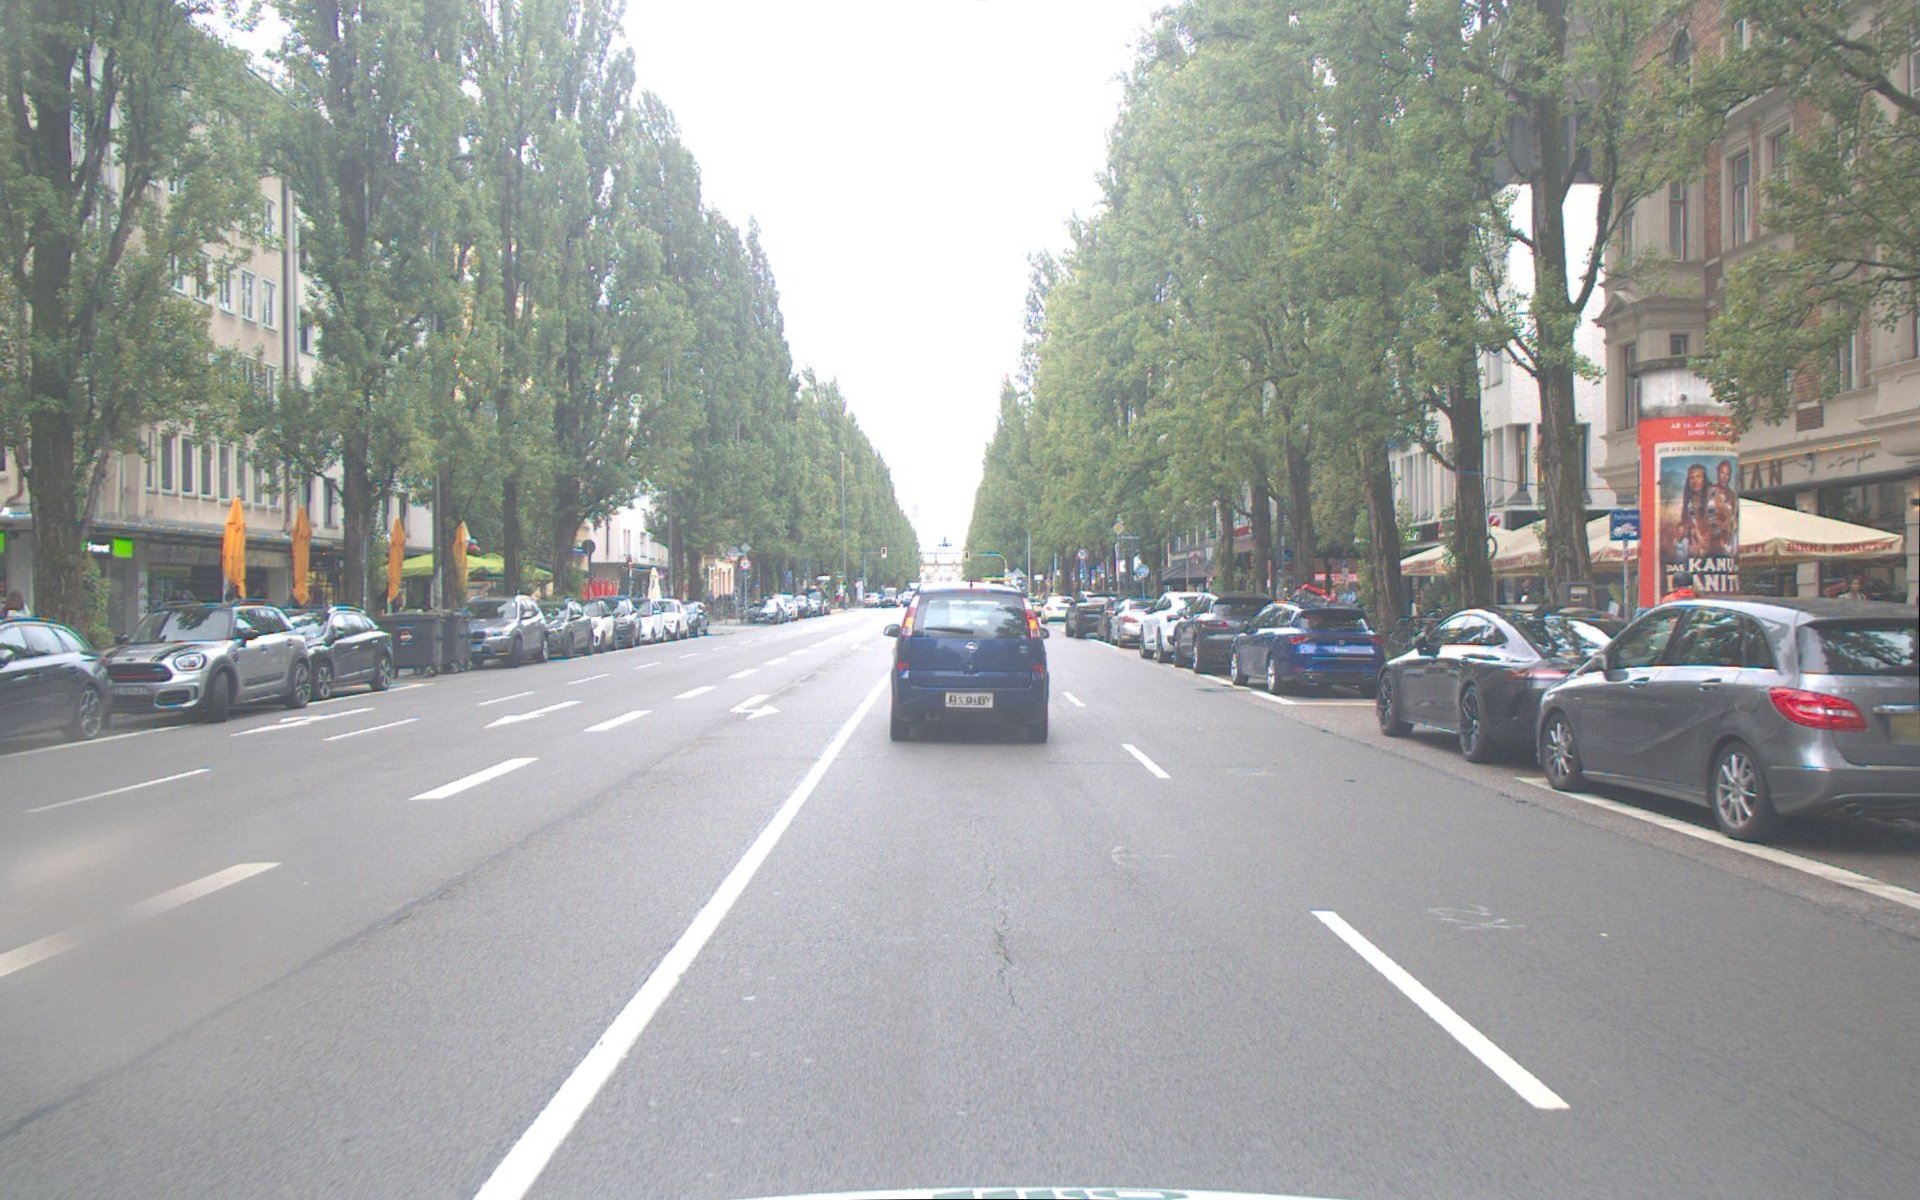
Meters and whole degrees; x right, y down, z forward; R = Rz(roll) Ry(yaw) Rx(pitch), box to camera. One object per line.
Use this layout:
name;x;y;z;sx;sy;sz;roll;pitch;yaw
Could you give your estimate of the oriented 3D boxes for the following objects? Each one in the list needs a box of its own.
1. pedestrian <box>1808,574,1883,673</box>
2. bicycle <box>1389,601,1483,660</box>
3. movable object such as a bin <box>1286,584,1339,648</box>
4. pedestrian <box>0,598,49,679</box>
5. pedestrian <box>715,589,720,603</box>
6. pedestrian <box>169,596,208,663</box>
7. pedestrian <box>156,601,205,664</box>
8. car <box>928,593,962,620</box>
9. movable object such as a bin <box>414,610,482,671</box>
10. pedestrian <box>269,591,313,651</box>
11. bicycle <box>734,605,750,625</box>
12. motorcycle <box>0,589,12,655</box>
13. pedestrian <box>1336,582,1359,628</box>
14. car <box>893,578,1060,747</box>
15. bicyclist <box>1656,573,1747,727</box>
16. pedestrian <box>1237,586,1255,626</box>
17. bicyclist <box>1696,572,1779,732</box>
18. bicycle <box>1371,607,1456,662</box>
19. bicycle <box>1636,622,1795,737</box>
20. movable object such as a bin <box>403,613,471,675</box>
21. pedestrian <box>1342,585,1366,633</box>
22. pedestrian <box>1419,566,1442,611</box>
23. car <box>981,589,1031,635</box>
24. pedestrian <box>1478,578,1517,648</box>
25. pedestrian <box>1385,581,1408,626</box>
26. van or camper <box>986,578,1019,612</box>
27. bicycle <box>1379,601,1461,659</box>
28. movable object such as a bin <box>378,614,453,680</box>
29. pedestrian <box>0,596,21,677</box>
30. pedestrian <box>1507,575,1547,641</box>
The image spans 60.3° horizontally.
pedestrian;15.018;0.397;28.065;0.714;1.637;0.991;-1;0;0
bicycle;10.160;0.645;35.321;1.833;1.213;0.575;-1;0;-5
movable object such as a bin;9.696;0.430;45.570;1.012;1.733;1.585;-1;0;-4
pedestrian;-20.456;0.833;36.163;0.612;1.752;0.826;-1;0;-1
pedestrian;-18.716;-0.296;127.568;0.283;1.109;0.258;-1;0;5
pedestrian;-20.560;0.781;44.098;0.612;1.752;0.827;-1;0;0
pedestrian;-22.332;0.922;47.400;0.834;1.775;1.148;0;0;0
car;-0.891;0.388;96.479;1.953;1.524;3.999;0;0;-1
movable object such as a bin;-11.549;0.900;37.328;1.287;1.340;0.819;0;0;-2
pedestrian;-20.190;0.618;49.950;0.834;1.775;1.148;0;0;0
bicycle;-11.728;0.797;88.923;0.652;1.023;2.460;-1;0;-4
motorcycle;-17.058;0.391;28.785;0.467;1.159;1.808;-1;0;-14
pedestrian;15.319;0.208;65.427;0.712;1.781;0.859;1;0;0
car;0.116;0.610;18.440;1.647;1.670;3.999;0;0;-1
bicyclist;7.978;0.529;17.814;0.609;1.616;0.753;-1;0;-1
pedestrian;12.908;0.263;74.540;0.640;1.781;0.859;1;0;0
bicyclist;7.995;0.526;17.018;0.609;1.616;0.481;-1;0;-1
bicycle;9.944;0.755;36.273;1.794;1.159;0.370;-1;0;-7
bicycle;7.987;0.809;17.609;0.614;1.106;2.263;0;0;-1
movable object such as a bin;-11.526;0.957;36.471;1.234;1.340;0.825;0;0;-2
pedestrian;13.601;0.307;57.113;0.640;1.655;0.704;-1;0;-3
pedestrian;17.670;-0.436;62.162;0.719;1.655;0.766;1;0;9
car;1.646;0.424;60.167;1.671;1.601;4.000;0;0;0
pedestrian;14.175;0.337;43.615;0.714;1.834;0.931;-1;0;0
pedestrian;16.182;0.122;61.322;0.640;1.655;0.704;-1;0;-3
van or camper;3.392;-0.382;131.897;2.426;2.626;5.844;-1;0;0
bicycle;9.963;0.644;35.818;1.677;1.213;0.420;-1;0;-5
movable object such as a bin;-11.343;0.969;34.463;1.251;1.333;0.901;0;0;-1
pedestrian;-21.078;0.791;36.147;0.612;1.752;0.826;-1;0;-1
pedestrian;14.916;0.200;43.555;0.714;1.706;0.931;-1;0;0
